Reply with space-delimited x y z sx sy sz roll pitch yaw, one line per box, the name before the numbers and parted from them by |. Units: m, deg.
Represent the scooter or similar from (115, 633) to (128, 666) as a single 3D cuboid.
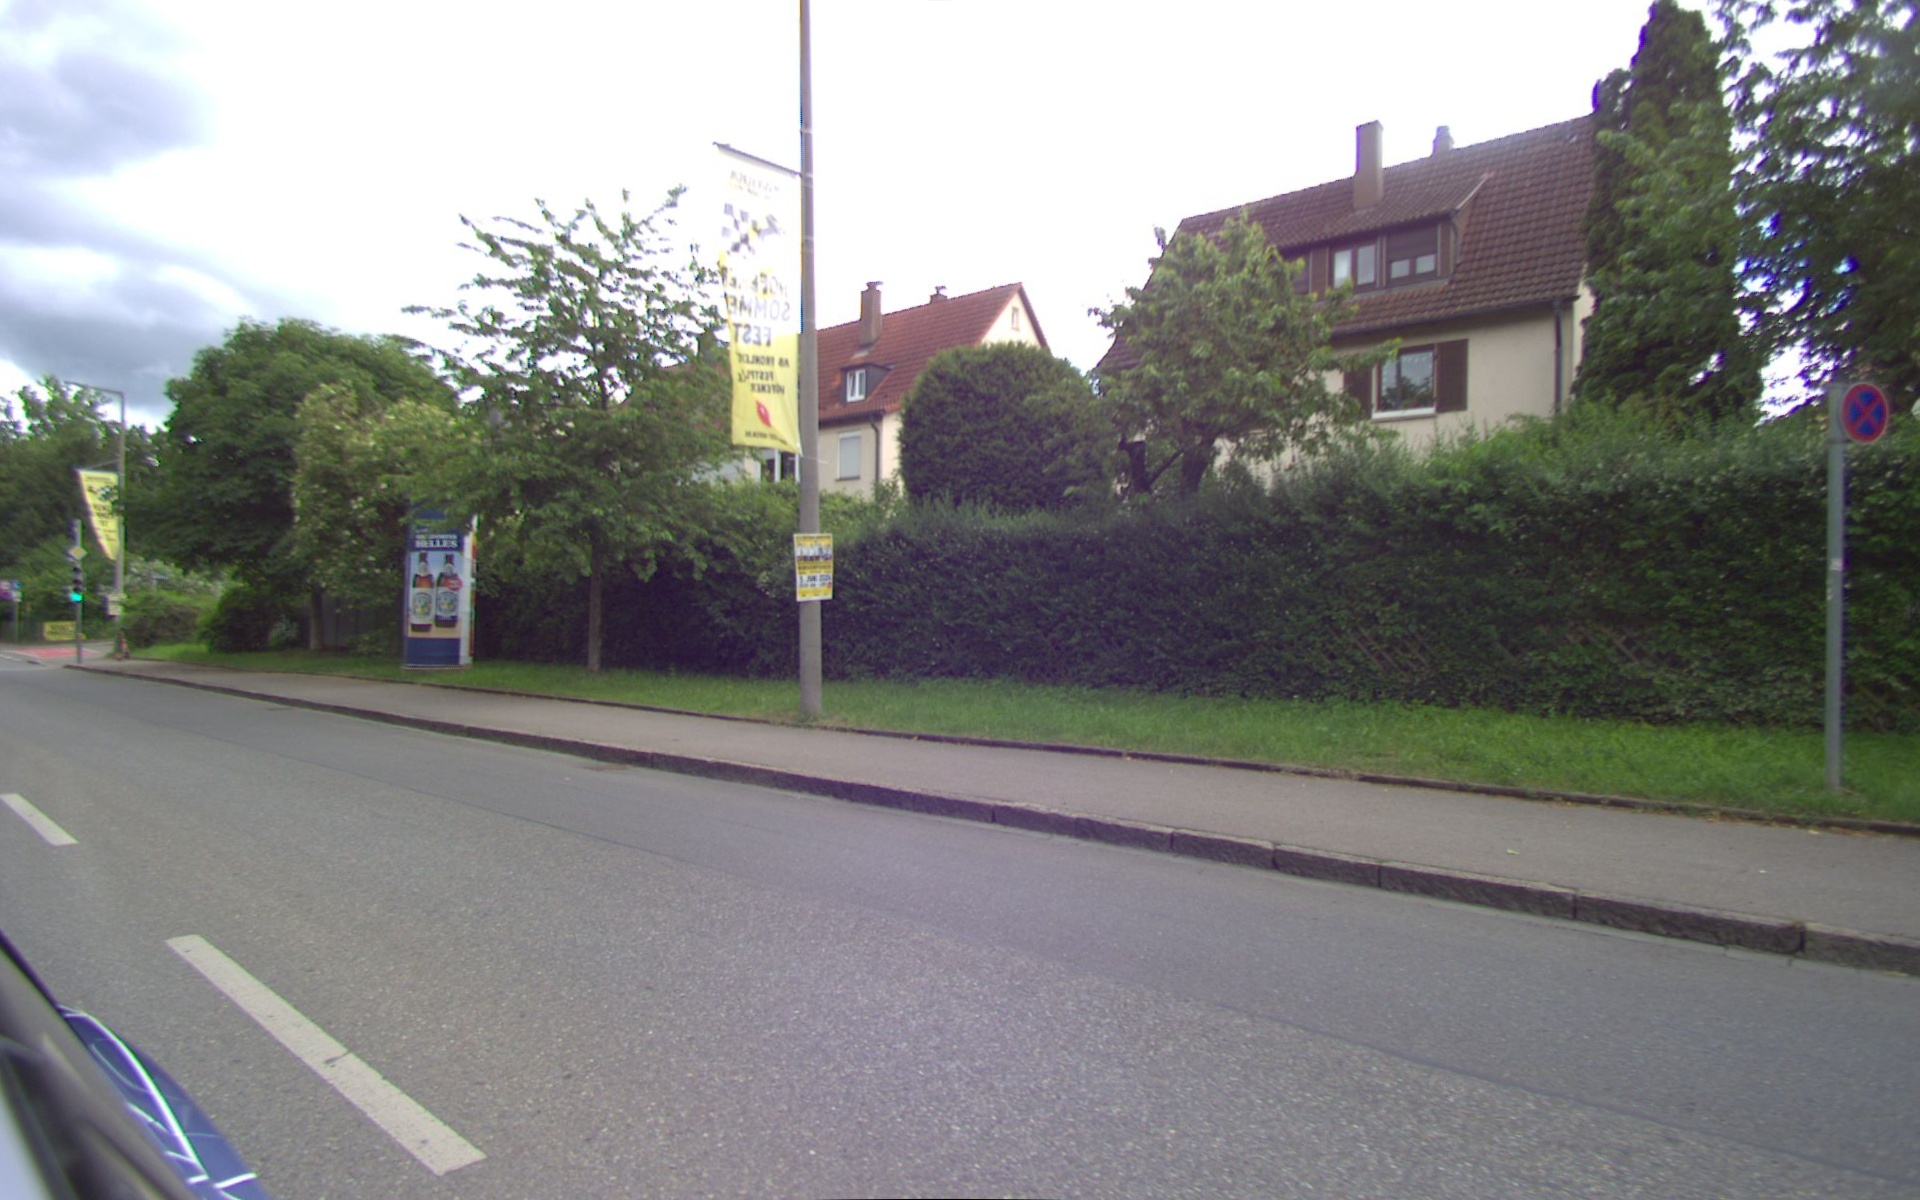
scooter or similar | -31.525 1.848 38.032 0.250 1.225 1.280 1 -2 -45
